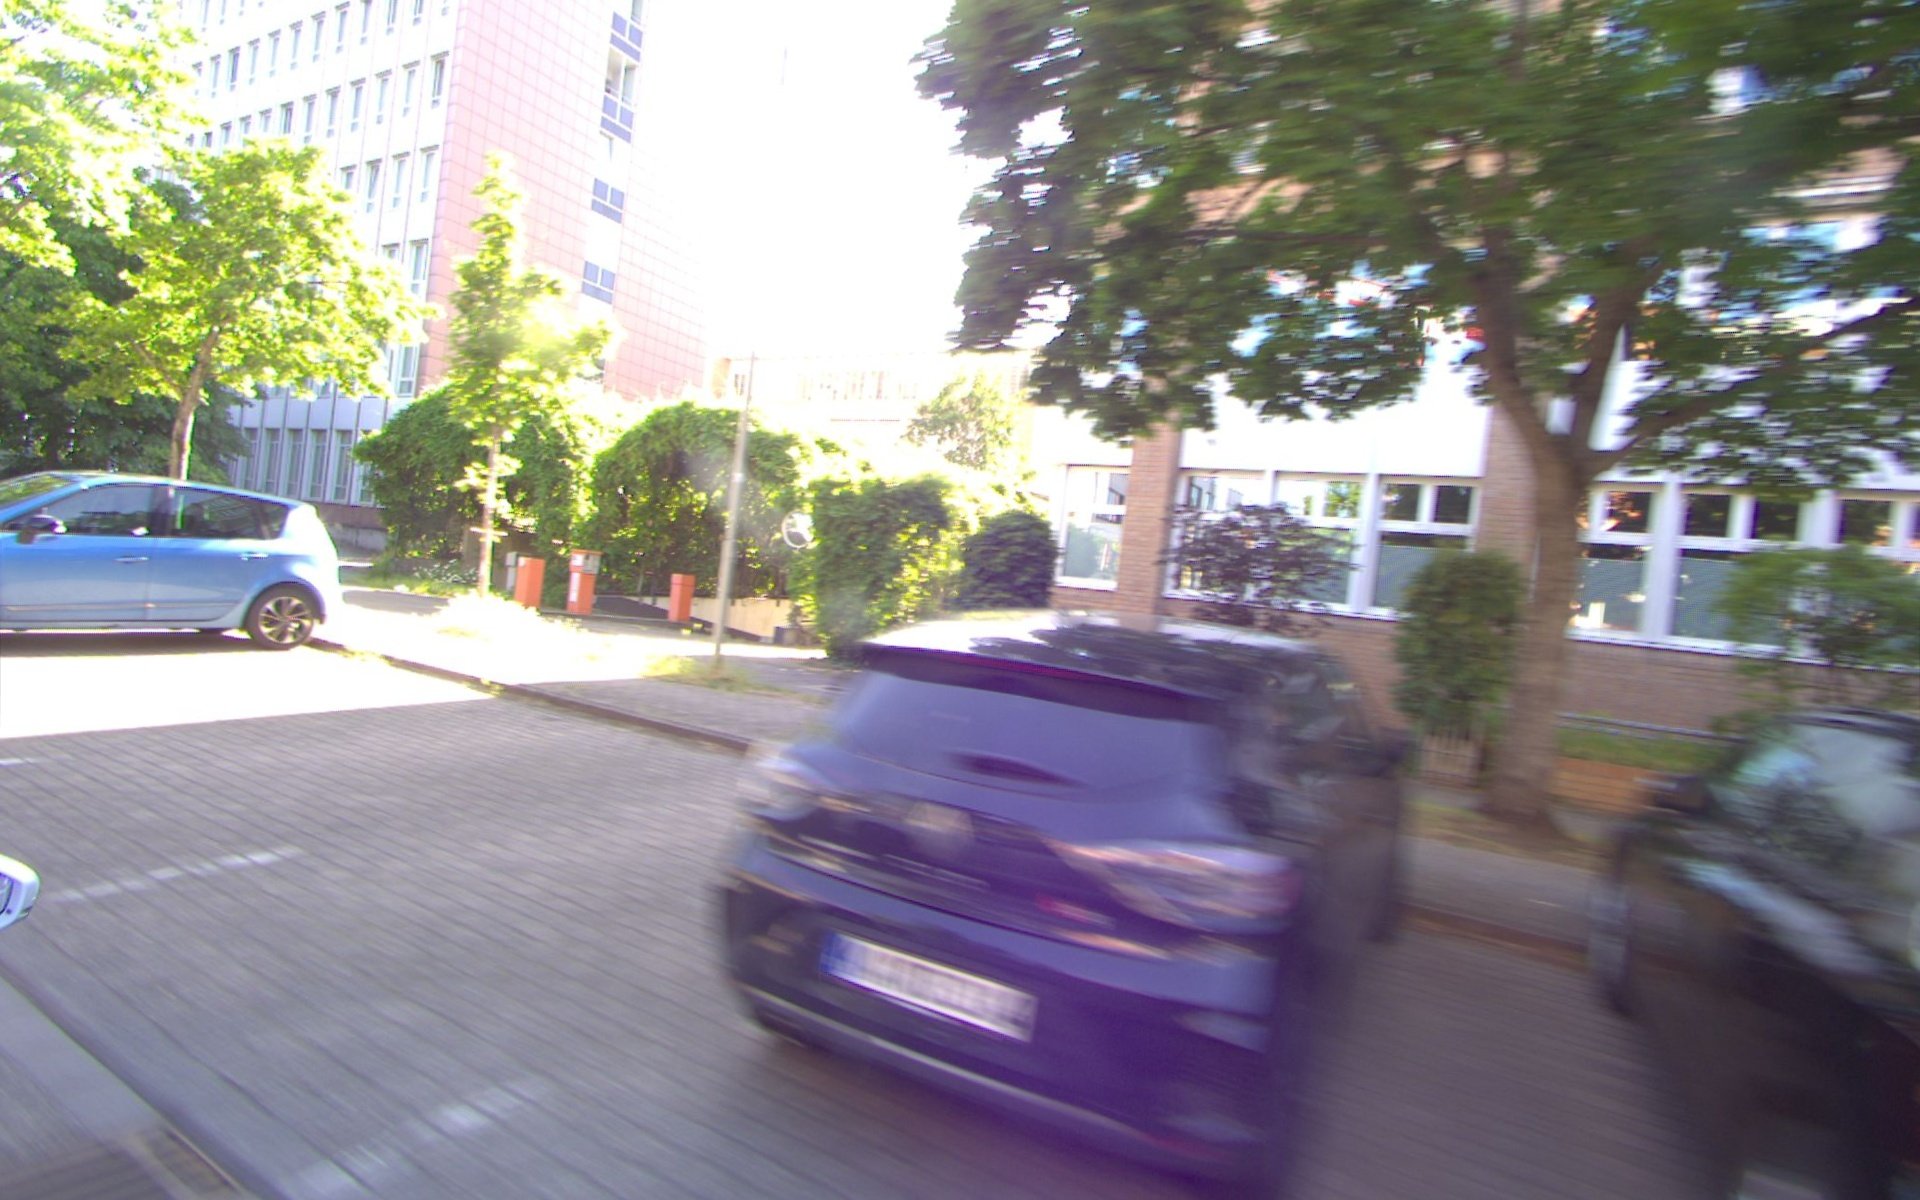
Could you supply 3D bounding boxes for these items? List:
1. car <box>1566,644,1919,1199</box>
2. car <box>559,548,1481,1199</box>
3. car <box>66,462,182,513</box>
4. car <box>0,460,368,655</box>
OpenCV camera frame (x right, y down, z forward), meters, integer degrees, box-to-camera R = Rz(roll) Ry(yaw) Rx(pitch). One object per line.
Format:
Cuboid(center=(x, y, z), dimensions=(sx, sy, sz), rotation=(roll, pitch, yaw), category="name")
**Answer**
Cuboid(center=(2.873, 0.972, 2.683), dimensions=(1.672, 1.427, 3.805), rotation=(8, 2, 26), category="car")
Cuboid(center=(0.754, 0.772, 3.816), dimensions=(1.794, 1.503, 3.848), rotation=(8, 2, 31), category="car")
Cuboid(center=(-43.546, -5.827, 52.476), dimensions=(1.965, 1.803, 4.084), rotation=(7, -2, 27), category="car")
Cuboid(center=(-8.450, -0.427, 9.607), dimensions=(1.880, 1.640, 4.406), rotation=(7, 2, 31), category="car")
